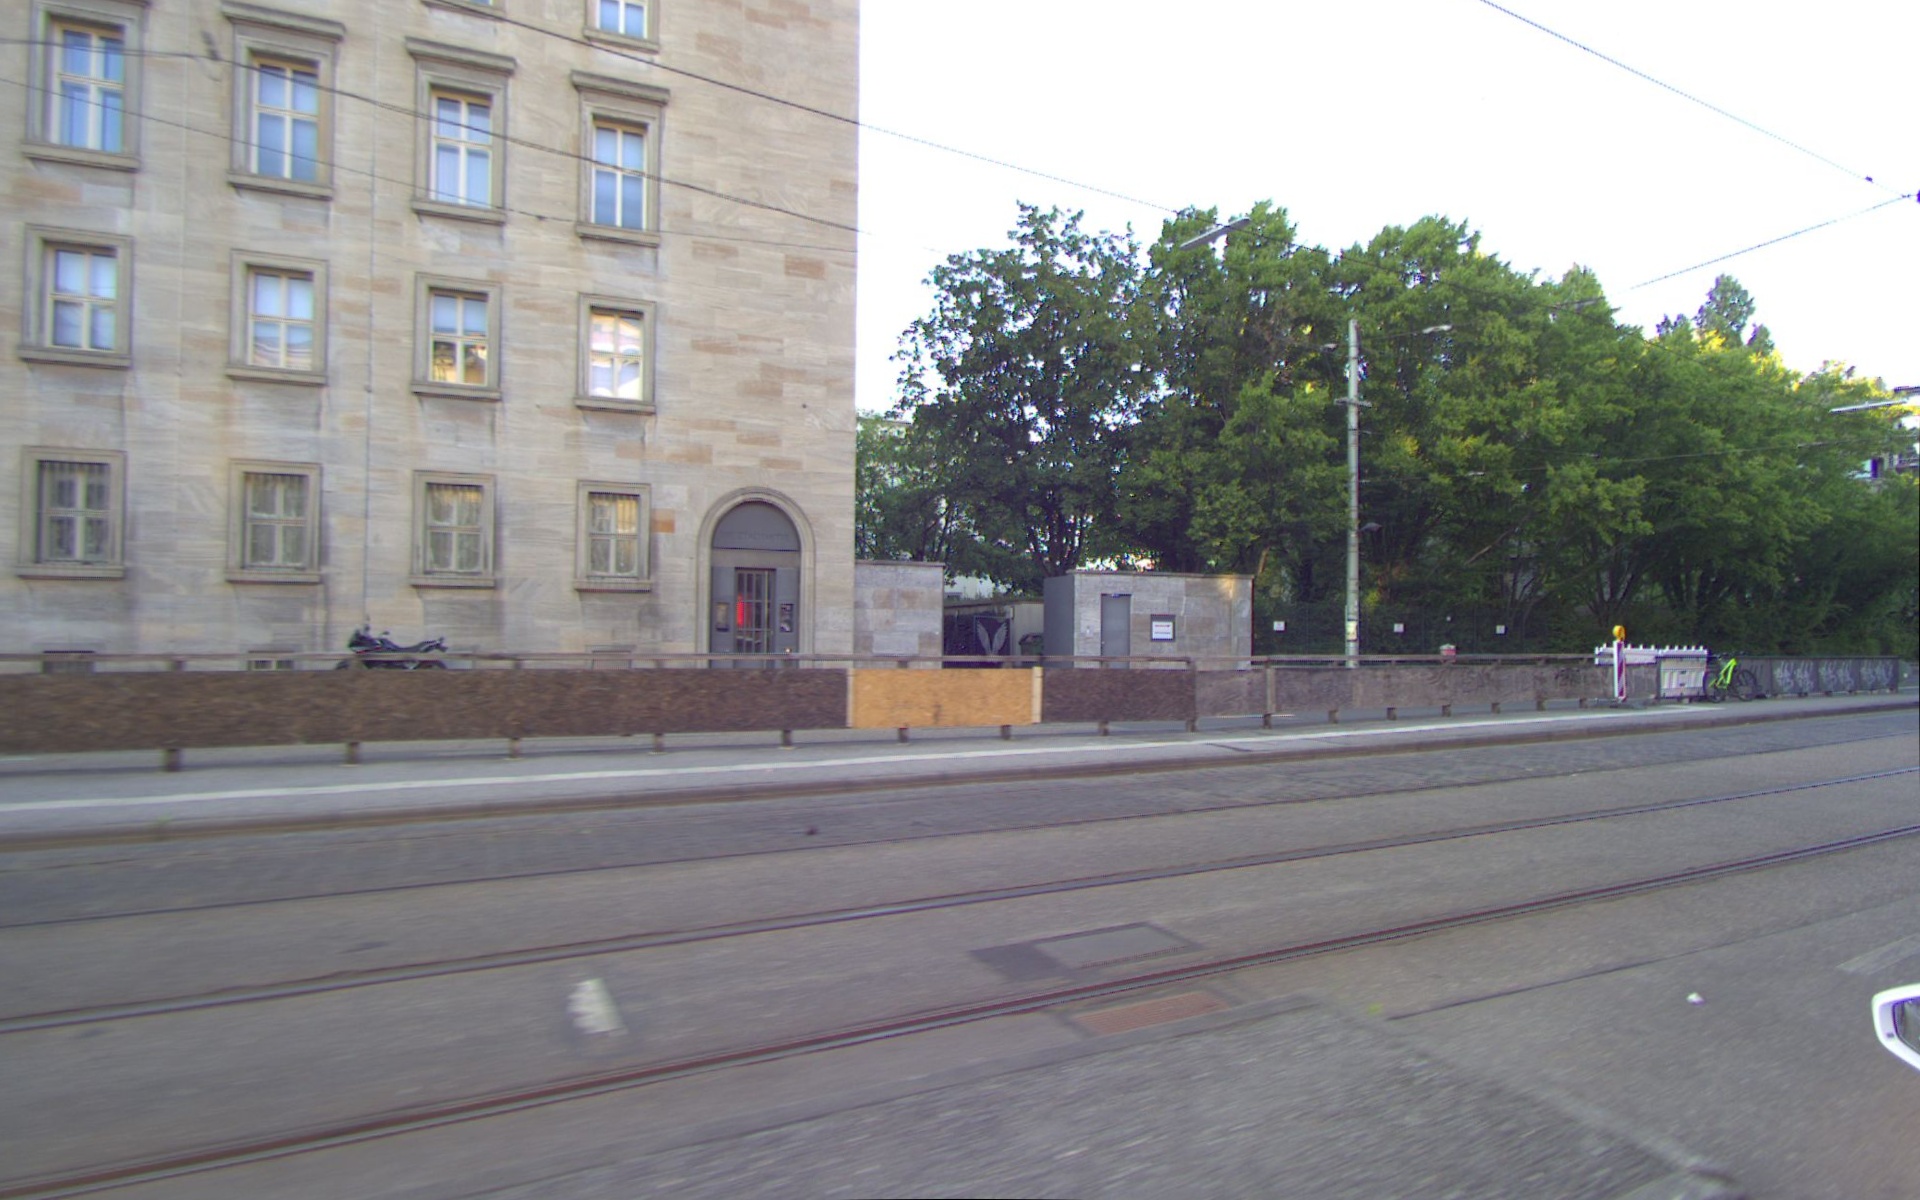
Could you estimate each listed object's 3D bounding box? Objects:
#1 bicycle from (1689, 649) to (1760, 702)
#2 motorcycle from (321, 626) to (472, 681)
[{"bbox_3d":[16.255,1.581,21.339,1.998,1.089,0.460,2,-2,-30],"label":"bicycle"},{"bbox_3d":[-11.554,1.090,20.707,2.614,1.088,0.697,1,-2,-21],"label":"motorcycle"}]
